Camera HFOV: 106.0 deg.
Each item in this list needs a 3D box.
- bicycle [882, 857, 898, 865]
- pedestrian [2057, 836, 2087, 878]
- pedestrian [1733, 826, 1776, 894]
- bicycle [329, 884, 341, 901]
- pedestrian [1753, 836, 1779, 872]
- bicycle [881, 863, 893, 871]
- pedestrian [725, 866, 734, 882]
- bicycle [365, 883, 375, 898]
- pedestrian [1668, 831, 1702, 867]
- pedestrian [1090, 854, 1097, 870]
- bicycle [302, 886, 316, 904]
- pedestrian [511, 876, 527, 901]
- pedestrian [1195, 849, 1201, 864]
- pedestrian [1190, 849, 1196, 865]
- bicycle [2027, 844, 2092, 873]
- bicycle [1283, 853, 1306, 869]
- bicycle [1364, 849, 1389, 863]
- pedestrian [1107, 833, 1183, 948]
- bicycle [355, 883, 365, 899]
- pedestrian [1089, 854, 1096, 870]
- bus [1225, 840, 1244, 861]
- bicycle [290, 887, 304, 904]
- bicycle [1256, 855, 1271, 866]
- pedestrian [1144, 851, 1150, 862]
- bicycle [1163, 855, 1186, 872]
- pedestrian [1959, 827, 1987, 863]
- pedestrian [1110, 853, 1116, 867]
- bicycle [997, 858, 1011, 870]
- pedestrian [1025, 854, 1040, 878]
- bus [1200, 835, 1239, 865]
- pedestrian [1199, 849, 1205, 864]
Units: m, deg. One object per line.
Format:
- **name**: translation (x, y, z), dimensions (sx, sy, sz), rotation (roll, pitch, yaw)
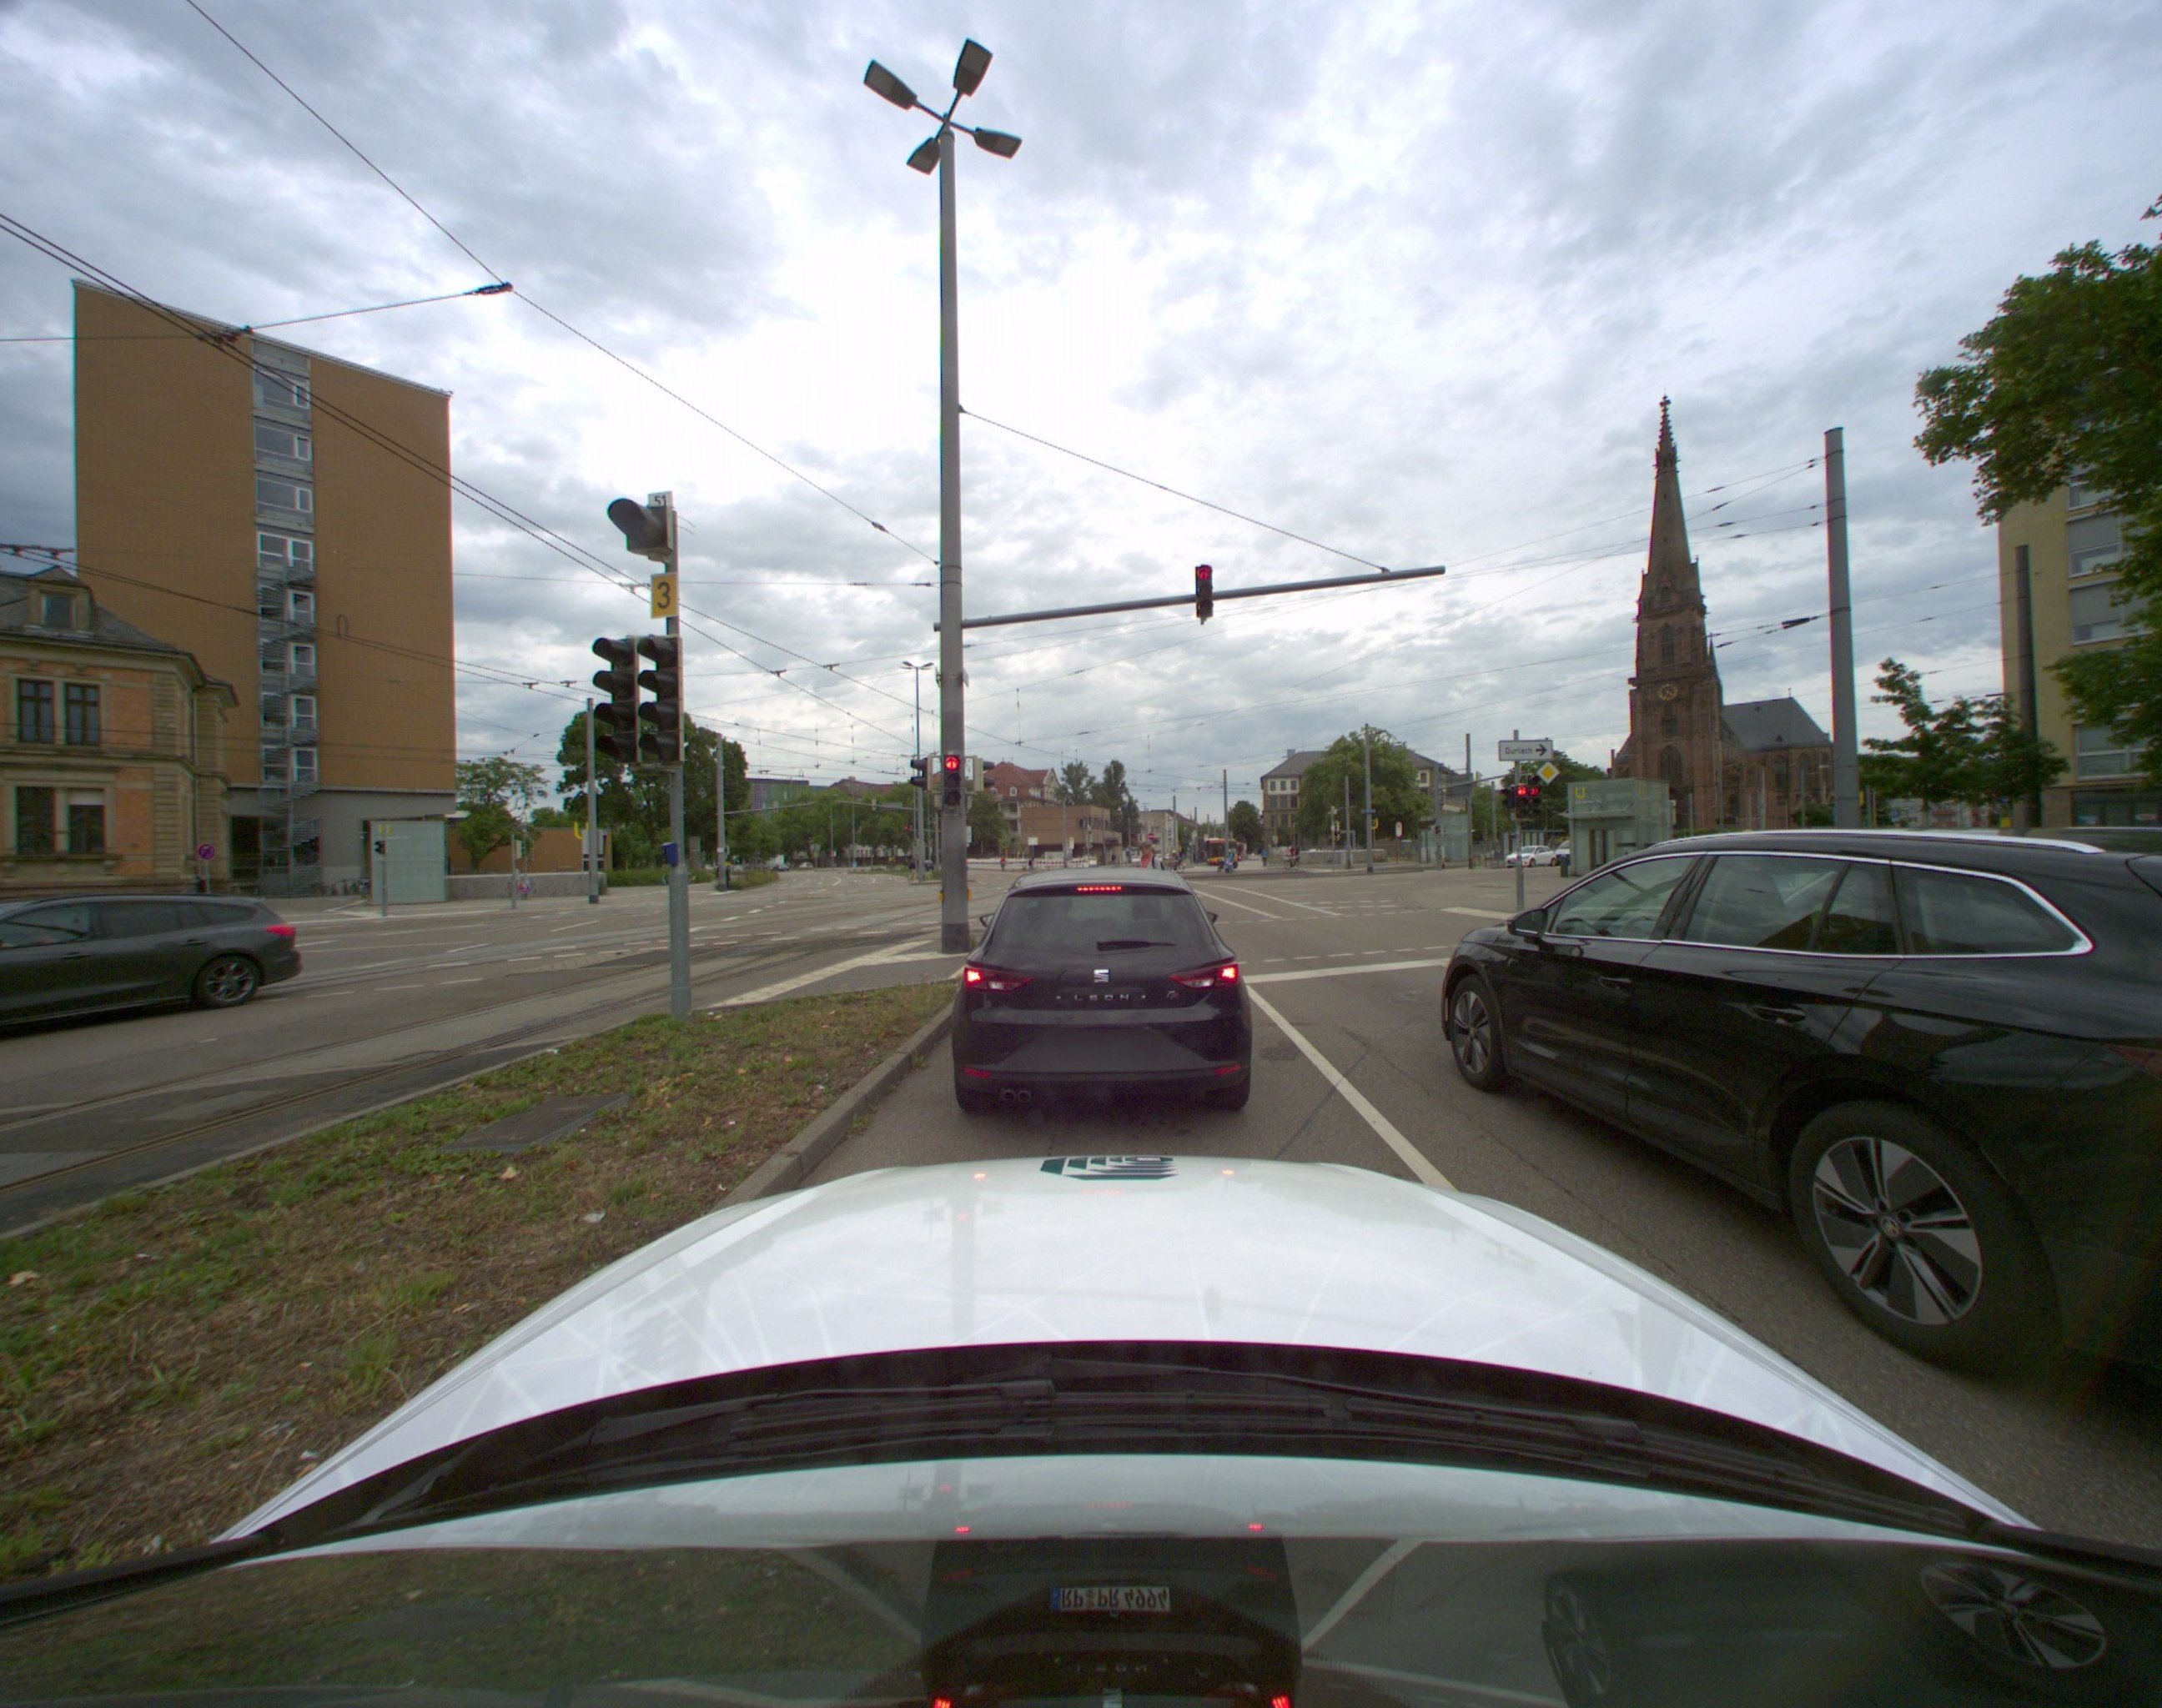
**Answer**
- **bicycle**: translation (-31.094, 1.102, 132.764), dimensions (0.930, 1.179, 2.747), rotation (-2, 0, 30)
- **pedestrian**: translation (39.481, 0.116, 32.457), dimensions (0.875, 1.638, 0.631), rotation (-1, 0, -32)
- **pedestrian**: translation (19.665, 0.178, 23.774), dimensions (0.878, 1.930, 1.023), rotation (-1, 0, 43)
- **bicycle**: translation (-51.158, 2.623, 55.843), dimensions (0.575, 1.106, 1.411), rotation (-1, 0, -41)
- **pedestrian**: translation (31.260, 0.002, 37.164), dimensions (0.875, 1.638, 0.631), rotation (-1, 0, -32)
- **bicycle**: translation (-29.031, 1.934, 121.854), dimensions (0.429, 1.236, 1.838), rotation (-3, -2, 45)
- **pedestrian**: translation (-45.234, 2.566, 104.845), dimensions (0.880, 1.981, 0.791), rotation (-1, -2, -17)
- **bicycle**: translation (-49.840, 2.560, 57.078), dimensions (0.484, 1.049, 1.411), rotation (-1, 0, -41)
- **pedestrian**: translation (31.147, -0.266, 41.992), dimensions (0.950, 1.797, 1.076), rotation (-1, -2, -32)
- **pedestrian**: translation (1.507, 0.946, 97.522), dimensions (0.704, 1.918, 0.625), rotation (-2, 0, 9)
- **bicycle**: translation (-52.089, 2.762, 54.961), dimensions (0.575, 1.106, 1.411), rotation (-1, 0, -41)
- **pedestrian**: translation (-30.790, 1.883, 44.626), dimensions (0.492, 1.336, 0.577), rotation (-2, -1, 41)
- **pedestrian**: translation (15.154, 0.369, 105.364), dimensions (0.618, 1.918, 0.711), rotation (-2, 0, 5)
- **pedestrian**: translation (14.252, 0.372, 103.844), dimensions (0.617, 1.918, 0.701), rotation (-2, 0, 11)
- **bicycle**: translation (31.503, 0.144, 26.230), dimensions (0.596, 0.917, 1.253), rotation (-1, 0, -28)
- **bicycle**: translation (16.384, 0.542, 62.458), dimensions (2.044, 1.184, 0.768), rotation (-1, 0, -44)
- **bicycle**: translation (29.658, 0.182, 81.725), dimensions (2.248, 1.331, 0.709), rotation (-2, -2, 9)
- **pedestrian**: translation (1.116, 0.612, 14.155), dimensions (1.110, 1.907, 0.727), rotation (0, -1, -41)
- **bicycle**: translation (-50.242, 2.584, 56.726), dimensions (0.484, 1.049, 1.411), rotation (-1, 0, -41)
- **pedestrian**: translation (1.350, 0.933, 96.730), dimensions (0.704, 1.918, 0.625), rotation (-2, 0, 9)
- **bus**: translation (25.736, -0.597, 136.284), dimensions (2.635, 3.283, 11.034), rotation (-2, 0, 13)
- **bicycle**: translation (-52.539, 2.775, 54.556), dimensions (0.575, 1.106, 1.411), rotation (-1, 0, -41)
- **bicycle**: translation (18.926, 0.695, 84.511), dimensions (0.863, 1.104, 2.299), rotation (-1, 0, -3)
- **pedestrian**: translation (11.512, 0.385, 142.166), dimensions (0.615, 1.918, 0.715), rotation (-3, -2, 27)
- **bicycle**: translation (7.445, 0.748, 64.713), dimensions (1.726, 1.321, 0.644), rotation (-2, 0, -3)
- **pedestrian**: translation (41.267, -0.432, 37.693), dimensions (0.640, 1.638, 0.778), rotation (-1, 0, -35)
- **pedestrian**: translation (4.361, 0.793, 111.180), dimensions (0.618, 1.918, 0.711), rotation (-2, 0, 5)
- **bicycle**: translation (-8.134, 1.026, 86.088), dimensions (0.895, 1.178, 2.287), rotation (-1, 0, -20)
- **pedestrian**: translation (-3.937, 0.984, 66.036), dimensions (0.692, 1.934, 1.037), rotation (-2, 0, 40)
- **bus**: translation (15.966, -0.434, 93.274), dimensions (2.938, 3.123, 11.589), rotation (-2, 0, 16)
- **pedestrian**: translation (15.511, 0.336, 104.284), dimensions (0.617, 1.918, 0.701), rotation (-2, 0, 11)
